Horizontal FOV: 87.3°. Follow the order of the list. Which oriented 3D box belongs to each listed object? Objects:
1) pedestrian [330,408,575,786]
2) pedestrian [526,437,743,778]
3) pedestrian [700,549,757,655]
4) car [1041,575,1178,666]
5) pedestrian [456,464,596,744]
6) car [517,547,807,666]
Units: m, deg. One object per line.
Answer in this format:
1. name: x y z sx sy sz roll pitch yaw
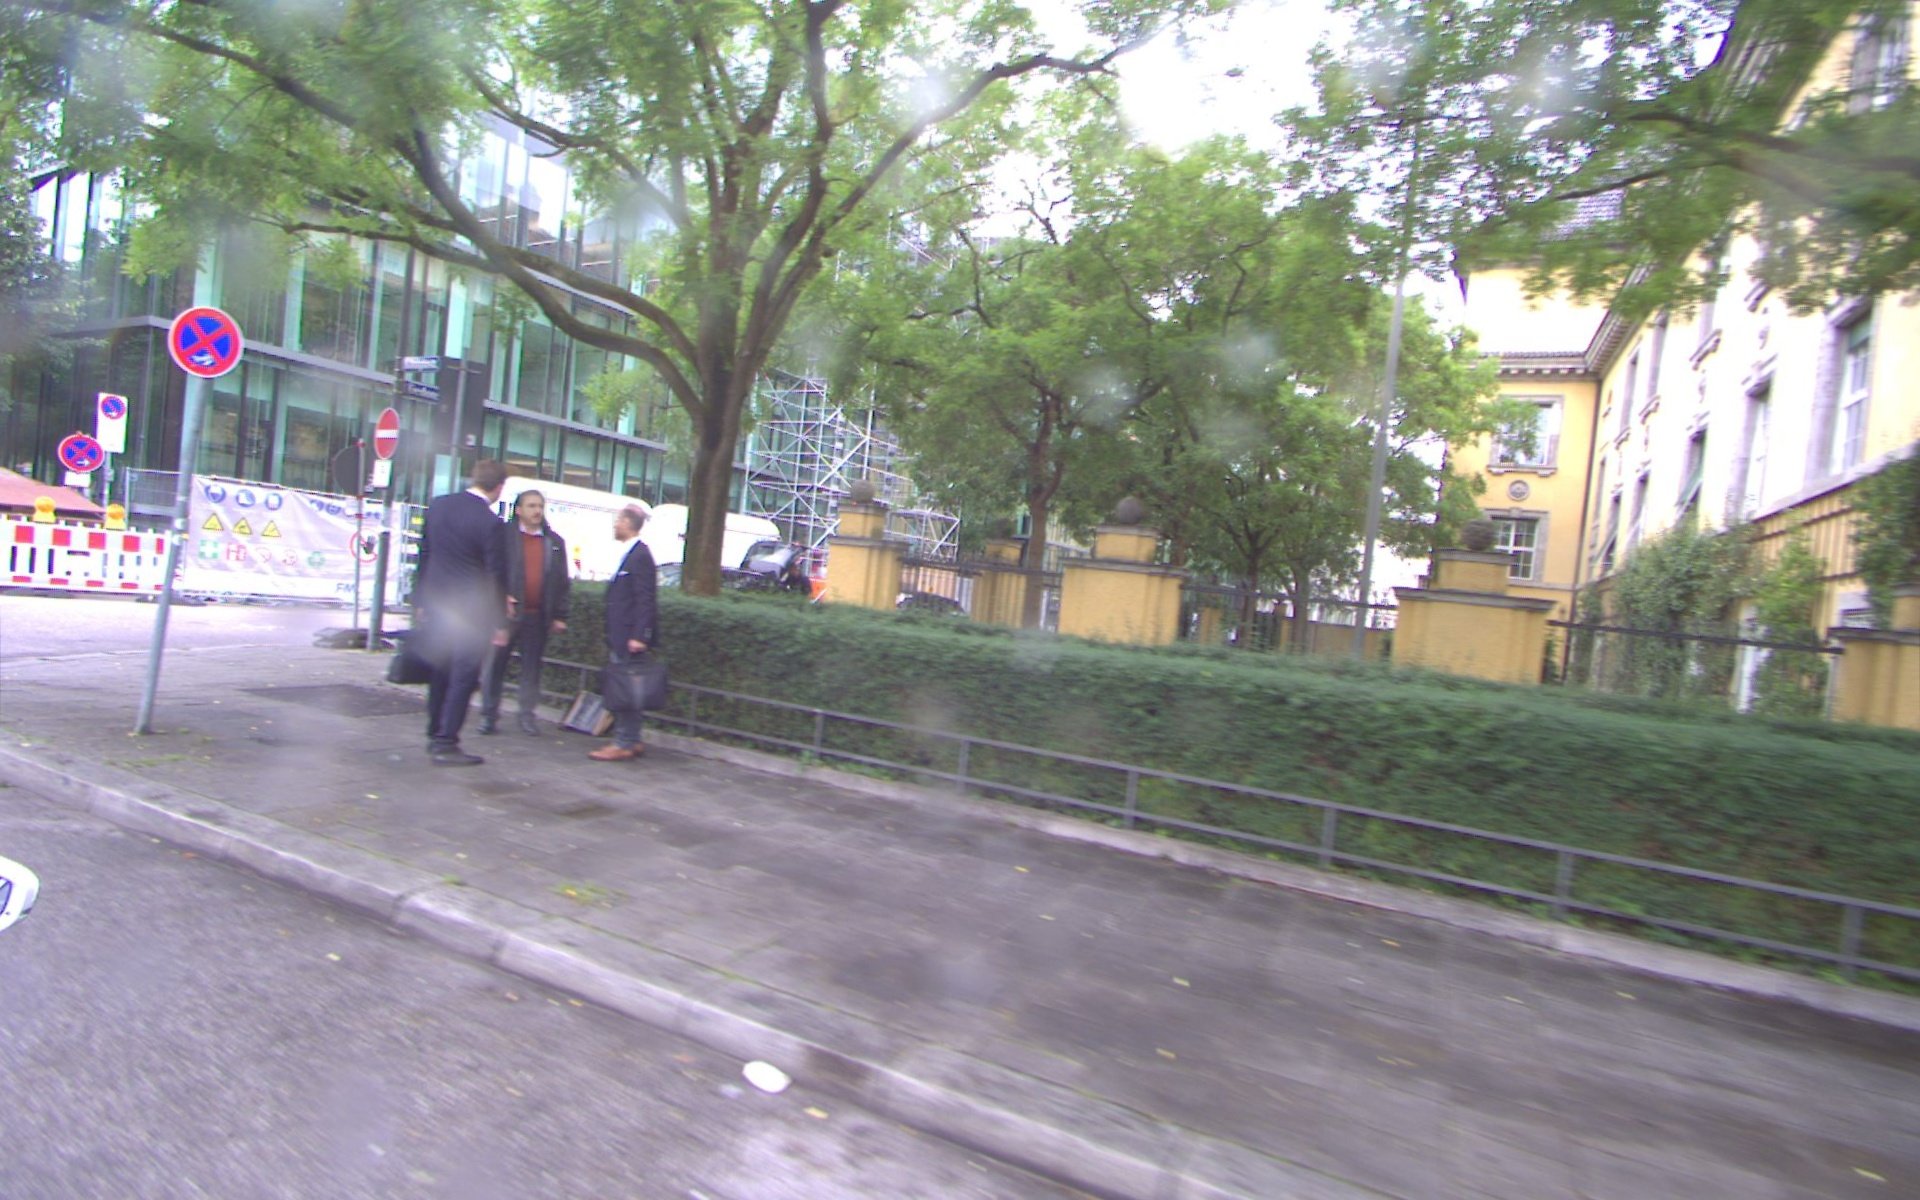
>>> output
1. pedestrian: -3.190 -0.038 6.343 1.037 2.162 0.744 7 2 25
2. pedestrian: -2.257 0.033 6.996 1.037 2.162 0.744 7 2 25
3. pedestrian: -4.236 0.035 18.440 0.672 1.833 0.672 6 2 7
4. car: 4.870 0.727 31.942 2.118 2.492 5.684 6 0 31
5. pedestrian: -3.296 0.025 7.595 0.736 1.932 1.048 5 2 -29
6. car: -4.532 0.187 15.947 1.838 1.504 4.210 6 0 30
